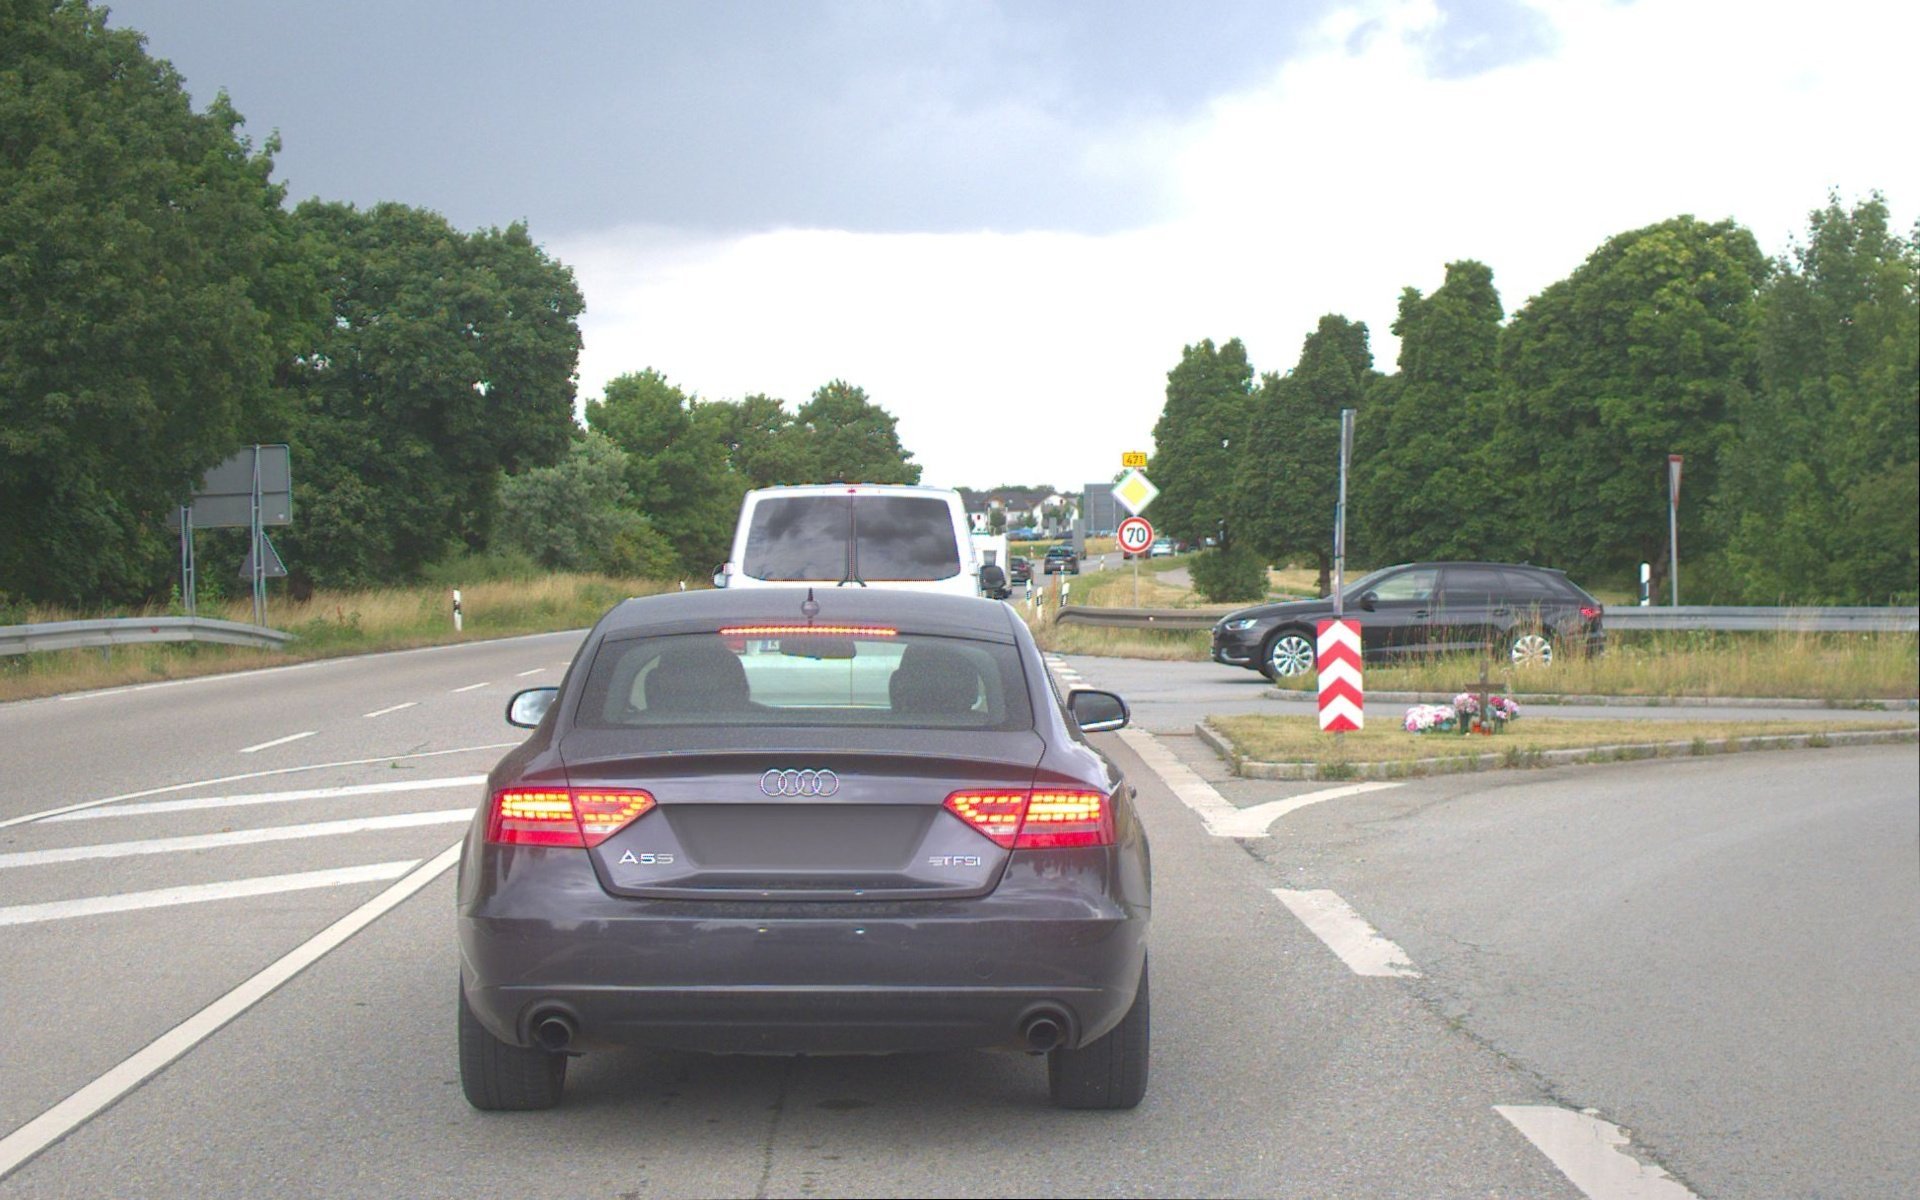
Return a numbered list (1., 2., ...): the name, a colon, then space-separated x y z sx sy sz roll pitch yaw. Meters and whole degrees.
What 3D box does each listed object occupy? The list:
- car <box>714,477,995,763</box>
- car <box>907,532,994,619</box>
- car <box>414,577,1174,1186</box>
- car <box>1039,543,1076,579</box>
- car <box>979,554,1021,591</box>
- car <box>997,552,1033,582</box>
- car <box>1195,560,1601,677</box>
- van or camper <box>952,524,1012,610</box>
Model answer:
1. car: -0.722 0.095 24.737 1.838 1.876 4.000 1 1 -1
2. car: -0.205 -0.618 85.155 1.994 2.081 4.000 0 1 2
3. car: -0.417 0.654 10.130 1.783 1.372 4.000 1 1 -1
4. car: 5.660 -2.282 200.315 1.993 2.007 4.000 0 1 -1
5. car: 1.469 -1.008 125.779 1.258 1.349 3.465 0 1 5
6. car: 2.736 -1.655 171.655 1.719 1.446 4.000 1 1 1
7. car: 5.192 0.210 41.142 4.596 1.369 1.826 0 1 -1
8. van or camper: 0.943 -1.352 141.692 2.340 3.469 5.718 0 1 2
